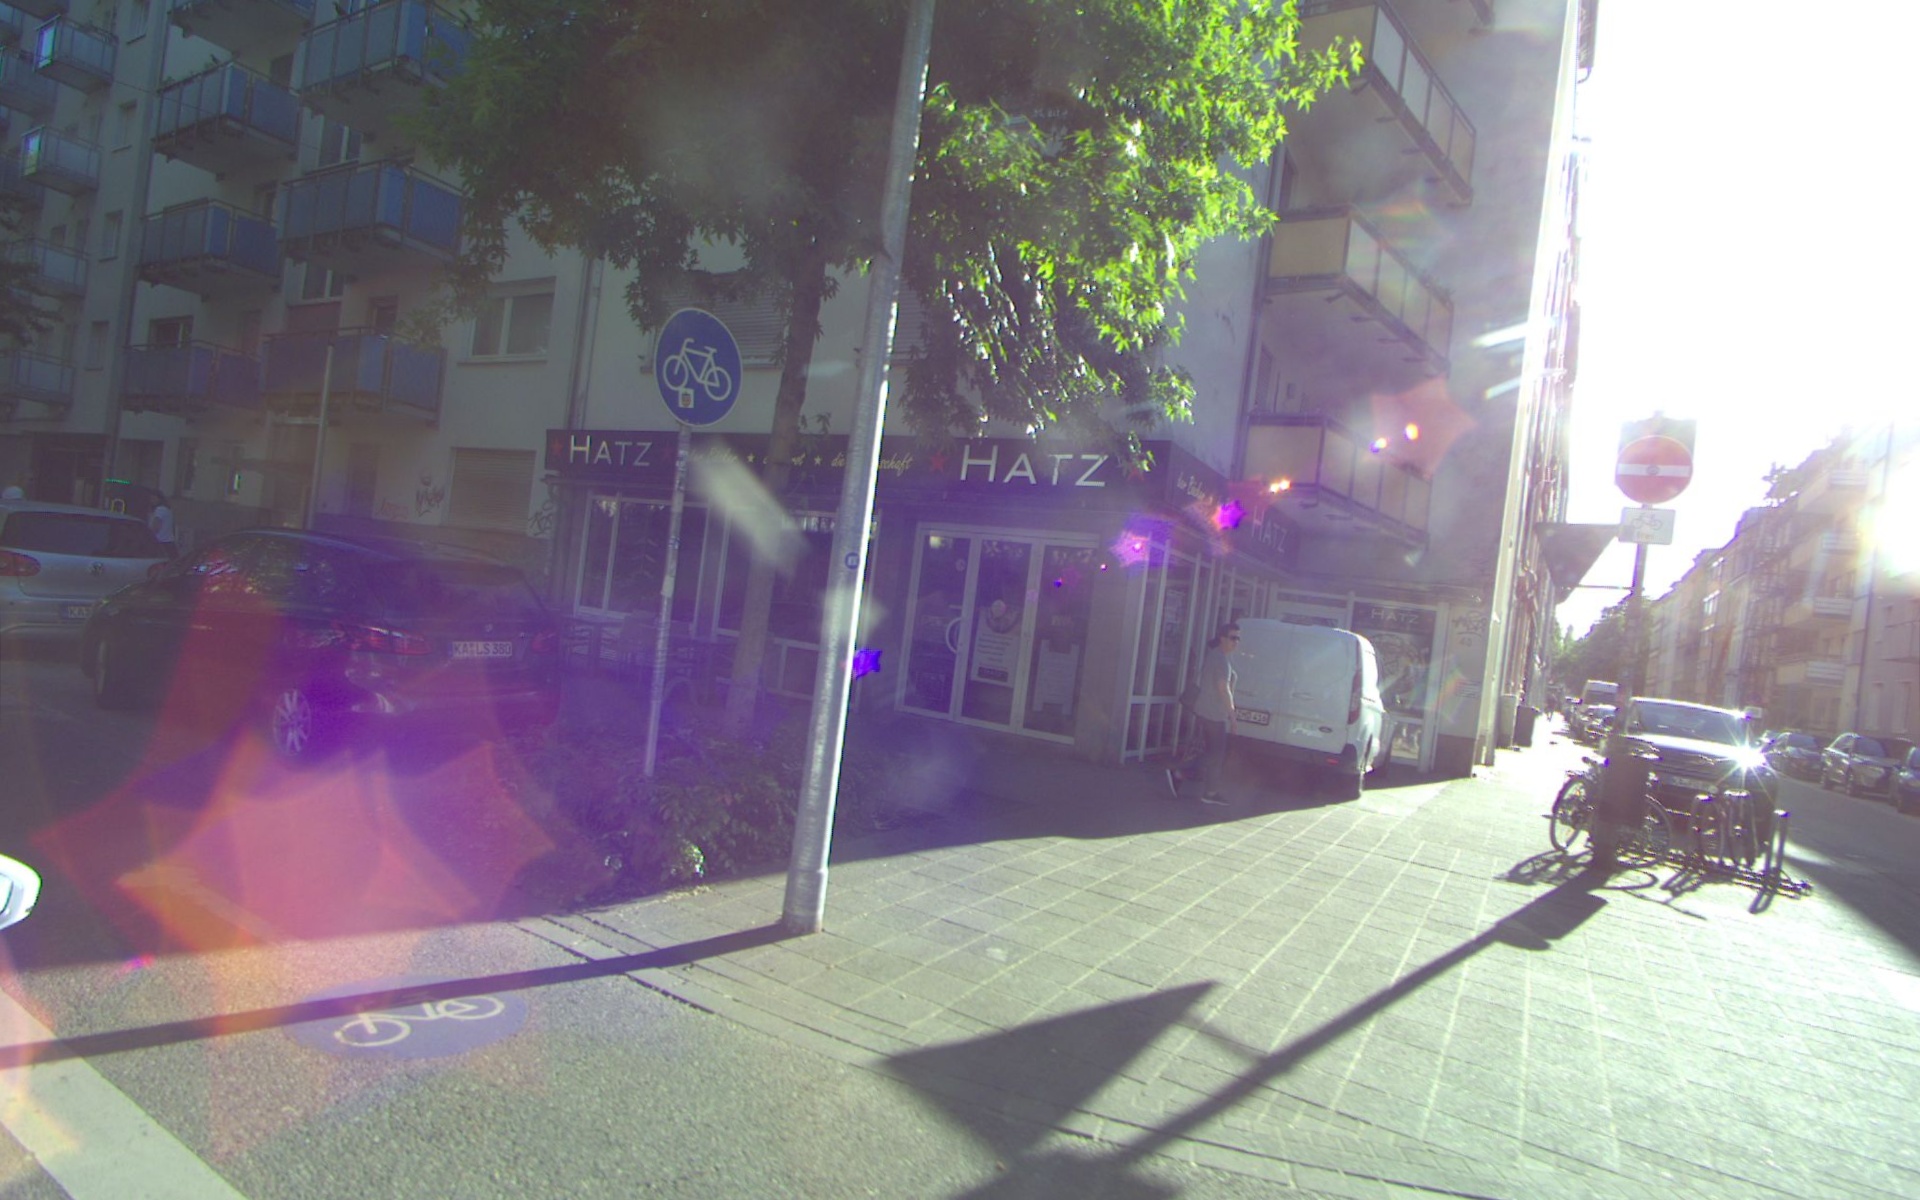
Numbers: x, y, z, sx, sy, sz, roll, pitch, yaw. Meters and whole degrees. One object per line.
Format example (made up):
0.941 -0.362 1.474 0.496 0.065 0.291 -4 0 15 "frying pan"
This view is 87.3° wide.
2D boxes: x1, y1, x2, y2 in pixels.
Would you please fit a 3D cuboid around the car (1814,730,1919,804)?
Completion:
23.977 4.320 26.228 1.696 1.525 3.996 6 -2 29 "car"

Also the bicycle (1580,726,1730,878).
6.499 1.865 9.357 2.058 1.221 0.477 9 -2 -38 "bicycle"

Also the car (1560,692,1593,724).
48.302 8.451 78.848 1.928 2.178 3.995 6 -2 31 "car"

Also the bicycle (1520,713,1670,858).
6.189 1.796 9.747 2.058 1.221 0.477 9 -2 -38 "bicycle"

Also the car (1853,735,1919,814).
21.839 3.980 22.583 1.696 1.525 3.996 6 -2 29 "car"

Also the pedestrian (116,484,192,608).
-12.807 -0.841 16.006 0.531 1.874 0.662 7 0 -15 "pedestrian"

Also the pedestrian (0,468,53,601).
-13.731 -0.959 14.635 0.651 1.880 0.476 6 7 18 "pedestrian"

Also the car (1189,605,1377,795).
4.230 1.222 12.733 1.753 1.818 4.002 7 -2 23 "car"

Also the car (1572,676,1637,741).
29.001 4.871 45.379 1.927 2.544 3.996 7 -2 29 "car"

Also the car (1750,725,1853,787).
27.216 4.999 32.670 1.696 1.525 3.996 6 -2 29 "car"

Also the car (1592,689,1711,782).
15.851 3.058 23.244 1.696 1.727 3.996 6 -2 29 "car"

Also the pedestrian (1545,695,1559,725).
37.970 7.080 64.562 0.583 1.848 0.513 7 -1 31 "pedestrian"

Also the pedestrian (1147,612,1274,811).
2.341 1.021 9.482 0.759 1.707 0.704 7 1 -5 "pedestrian"

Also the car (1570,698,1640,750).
23.097 4.419 36.128 1.696 1.525 3.996 6 -2 29 "car"

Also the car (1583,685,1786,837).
9.982 2.136 14.164 1.696 1.600 3.996 6 -2 29 "car"

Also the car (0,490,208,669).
-9.932 -0.340 10.564 4.058 1.557 1.788 7 2 31 "car"

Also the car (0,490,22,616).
-13.416 -0.755 12.750 2.833 1.557 1.445 7 1 31 "car"

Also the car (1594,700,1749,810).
12.768 2.705 18.281 1.696 1.525 3.996 6 -2 29 "car"

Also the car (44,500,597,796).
-5.049 0.232 7.842 4.185 1.591 1.722 6 1 28 "car"

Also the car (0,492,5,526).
-47.630 -4.590 46.683 1.932 1.610 4.262 6 -3 25 "car"
